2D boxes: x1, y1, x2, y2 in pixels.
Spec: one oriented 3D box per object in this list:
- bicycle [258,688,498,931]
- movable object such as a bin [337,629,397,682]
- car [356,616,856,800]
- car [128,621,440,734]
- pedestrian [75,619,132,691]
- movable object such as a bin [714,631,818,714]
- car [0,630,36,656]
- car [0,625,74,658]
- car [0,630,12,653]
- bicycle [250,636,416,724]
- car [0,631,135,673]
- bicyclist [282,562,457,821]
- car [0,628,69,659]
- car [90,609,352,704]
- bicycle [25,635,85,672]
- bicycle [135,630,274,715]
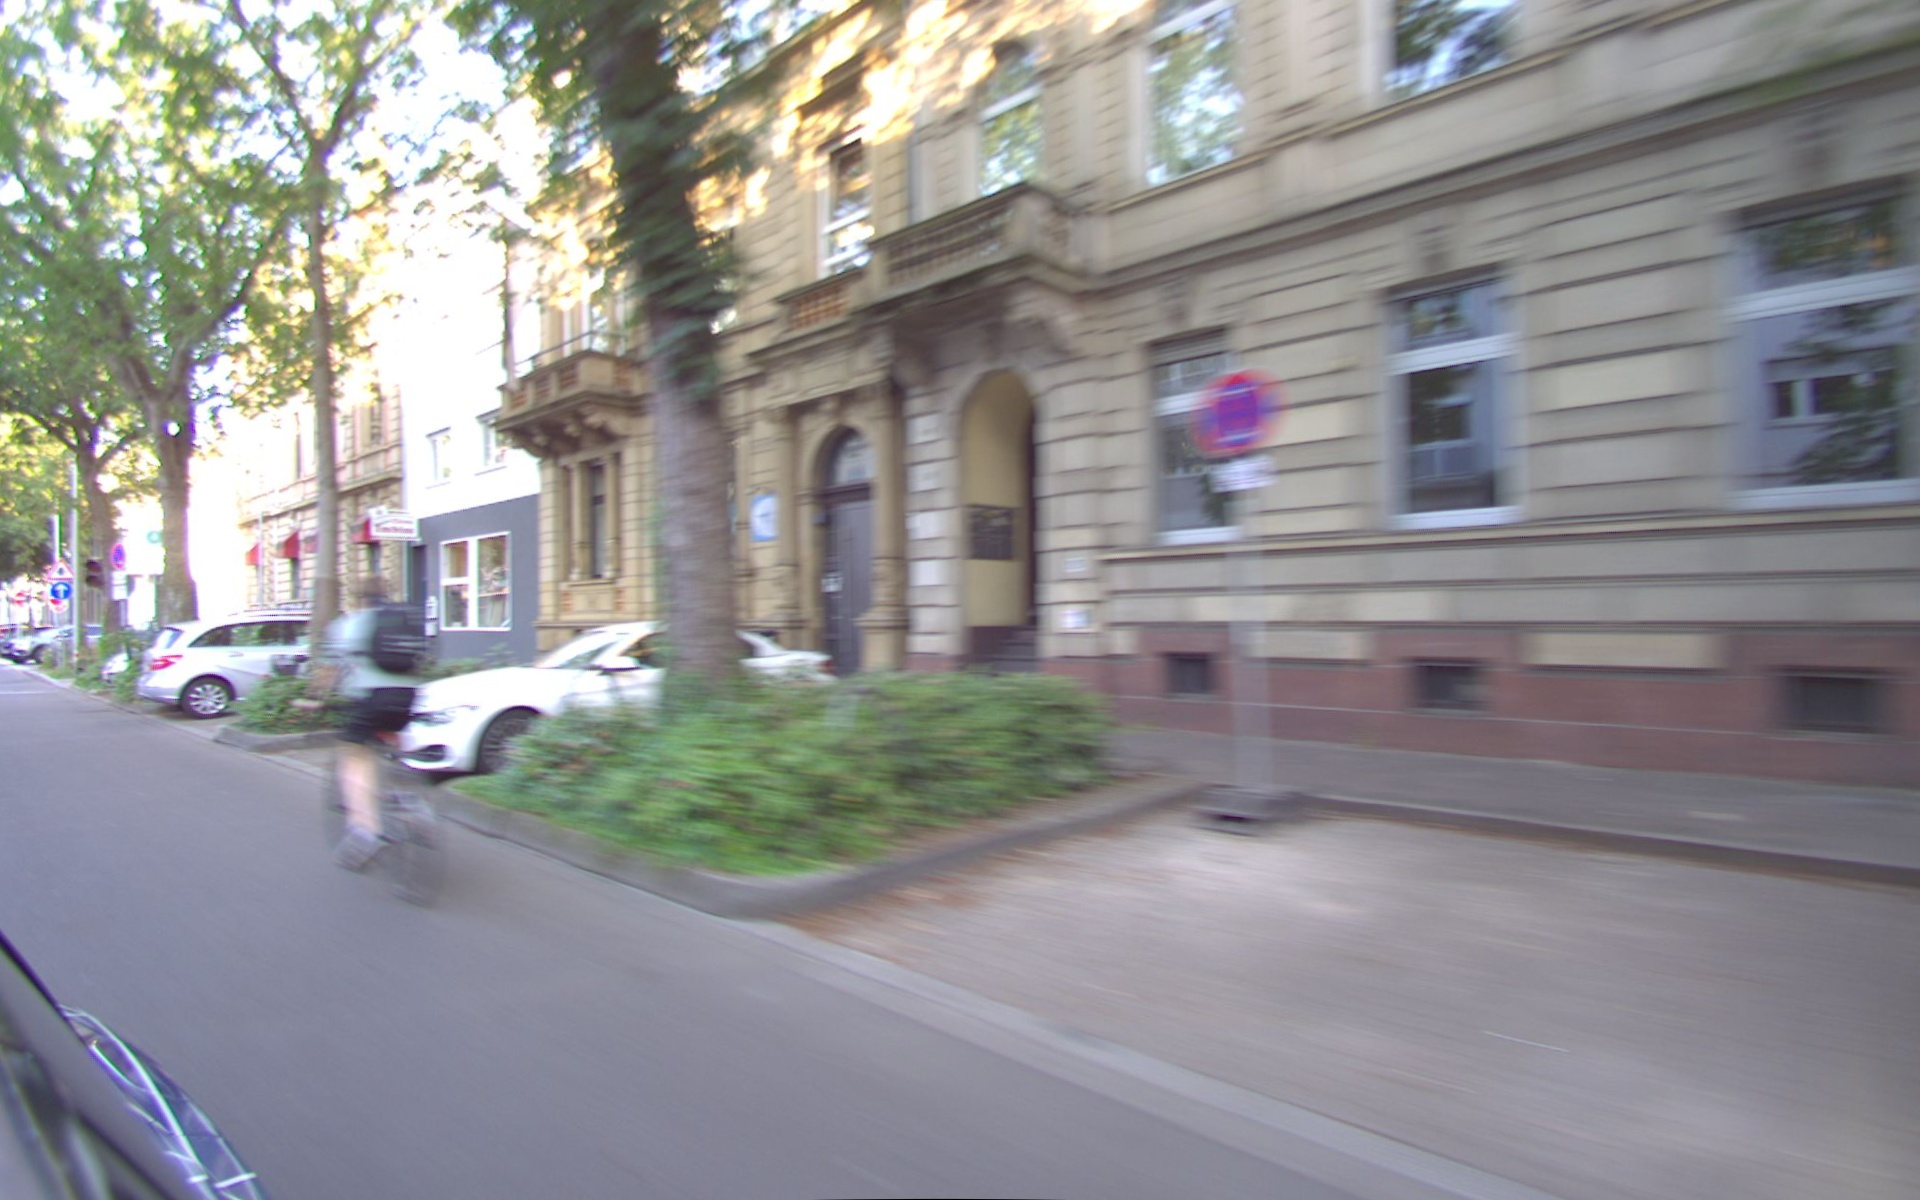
[{"bbox_3d":[-3.172,1.021,5.442,1.759,1.001,0.664,-2,-2,44],"label":"bicycle"},{"bbox_3d":[-12.581,1.168,21.461,1.317,1.070,0.766,-2,-2,43],"label":"movable object such as a bin"},{"bbox_3d":[-3.402,0.906,10.360,1.917,1.401,4.462,-1,-1,45],"label":"car"},{"bbox_3d":[-11.267,1.192,17.041,4.122,1.569,1.828,0,-1,-44],"label":"car"},{"bbox_3d":[-21.865,1.395,25.846,0.756,1.790,0.830,-1,0,4],"label":"pedestrian"},{"bbox_3d":[-2.764,1.004,14.373,1.317,1.069,0.792,-2,1,43],"label":"movable object such as a bin"},{"bbox_3d":[-66.392,2.960,69.526,1.996,1.722,3.952,-2,-2,35],"label":"car"},{"bbox_3d":[-58.523,2.603,63.580,1.996,1.966,3.952,-2,-2,35],"label":"car"},{"bbox_3d":[-74.768,3.182,76.760,1.841,1.722,3.952,-2,-2,35],"label":"car"},{"bbox_3d":[-8.305,1.021,13.459,0.599,1.016,1.774,-1,0,44],"label":"bicycle"},{"bbox_3d":[-37.585,2.134,42.401,1.934,1.582,4.329,0,-1,21],"label":"car"},{"bbox_3d":[-3.175,0.460,5.449,0.648,1.273,0.664,-2,-2,44],"label":"bicyclist"},{"bbox_3d":[-57.010,2.650,61.566,1.796,1.825,3.952,-2,-2,35],"label":"car"},{"bbox_3d":[-16.373,1.162,22.604,1.890,1.735,4.379,-2,1,41],"label":"car"},{"bbox_3d":[-32.606,1.930,36.506,0.793,1.234,2.425,-4,-1,-22],"label":"bicycle"},{"bbox_3d":[-13.012,1.214,17.464,0.773,1.336,1.777,-2,-1,37],"label":"bicycle"}]
